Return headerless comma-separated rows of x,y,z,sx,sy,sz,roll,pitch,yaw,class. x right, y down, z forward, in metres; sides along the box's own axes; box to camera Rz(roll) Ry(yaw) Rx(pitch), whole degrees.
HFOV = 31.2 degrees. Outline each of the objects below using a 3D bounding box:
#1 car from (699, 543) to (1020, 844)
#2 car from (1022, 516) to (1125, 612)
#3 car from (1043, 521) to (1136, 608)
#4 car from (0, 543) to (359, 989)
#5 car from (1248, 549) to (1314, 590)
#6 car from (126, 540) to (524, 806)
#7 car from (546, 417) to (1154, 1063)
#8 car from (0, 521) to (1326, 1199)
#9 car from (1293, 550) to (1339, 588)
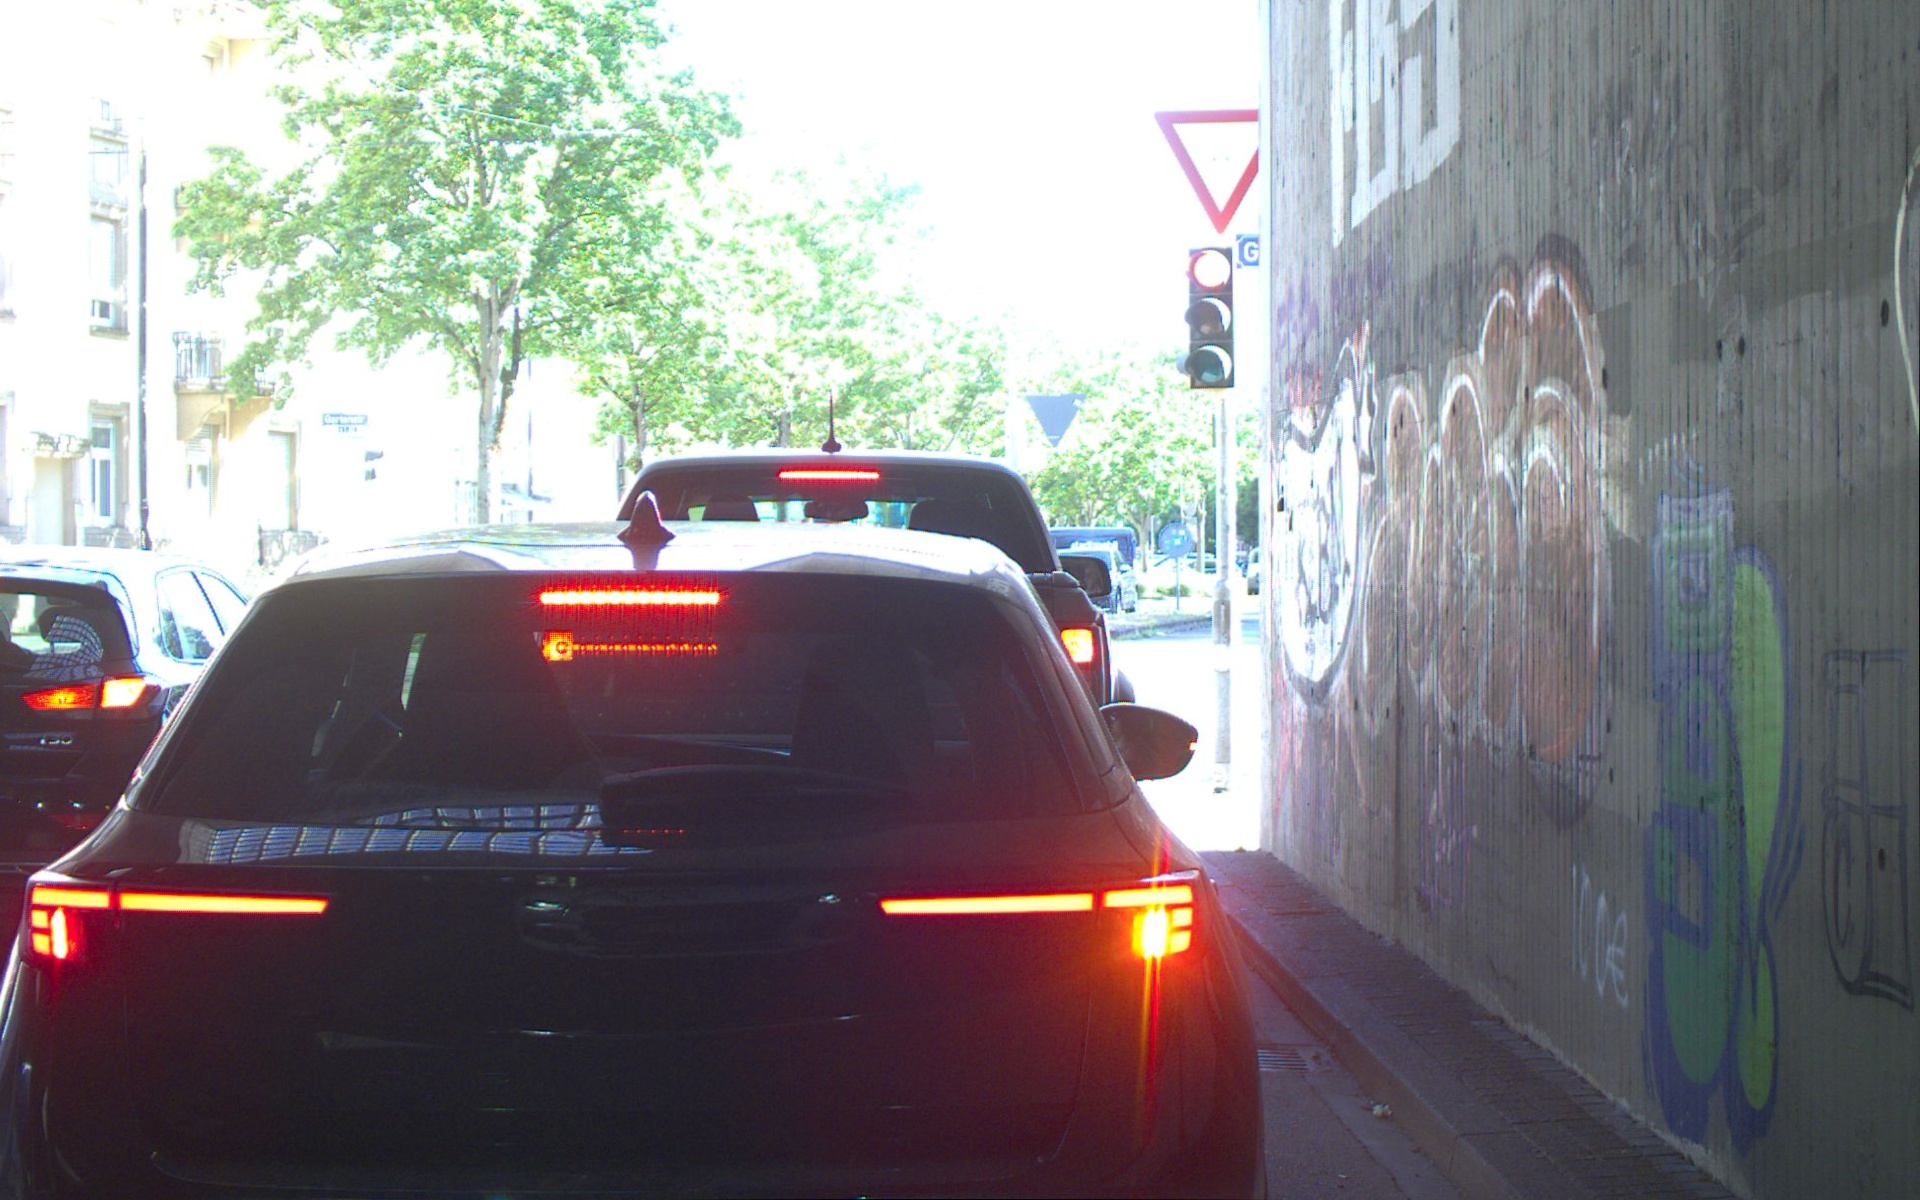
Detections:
-0.529,0.436,19.276,1.609,1.508,4.054,0,1,-1,car
2.082,-0.656,62.211,1.754,1.661,3.944,1,1,3,car
2.602,-0.710,68.330,1.754,1.661,3.944,1,1,3,car
-3.521,0.519,13.304,1.762,1.475,3.844,0,1,-1,car
13.241,-1.249,141.775,1.819,1.661,4.812,1,1,16,car
-3.771,0.373,21.028,1.762,1.475,3.844,0,1,-1,car
-0.344,0.375,12.056,1.762,1.876,4.146,0,1,-1,car
-0.472,0.637,6.116,1.762,1.526,4.089,0,1,-1,car
15.977,-1.393,154.158,1.754,1.661,3.943,1,1,11,car
